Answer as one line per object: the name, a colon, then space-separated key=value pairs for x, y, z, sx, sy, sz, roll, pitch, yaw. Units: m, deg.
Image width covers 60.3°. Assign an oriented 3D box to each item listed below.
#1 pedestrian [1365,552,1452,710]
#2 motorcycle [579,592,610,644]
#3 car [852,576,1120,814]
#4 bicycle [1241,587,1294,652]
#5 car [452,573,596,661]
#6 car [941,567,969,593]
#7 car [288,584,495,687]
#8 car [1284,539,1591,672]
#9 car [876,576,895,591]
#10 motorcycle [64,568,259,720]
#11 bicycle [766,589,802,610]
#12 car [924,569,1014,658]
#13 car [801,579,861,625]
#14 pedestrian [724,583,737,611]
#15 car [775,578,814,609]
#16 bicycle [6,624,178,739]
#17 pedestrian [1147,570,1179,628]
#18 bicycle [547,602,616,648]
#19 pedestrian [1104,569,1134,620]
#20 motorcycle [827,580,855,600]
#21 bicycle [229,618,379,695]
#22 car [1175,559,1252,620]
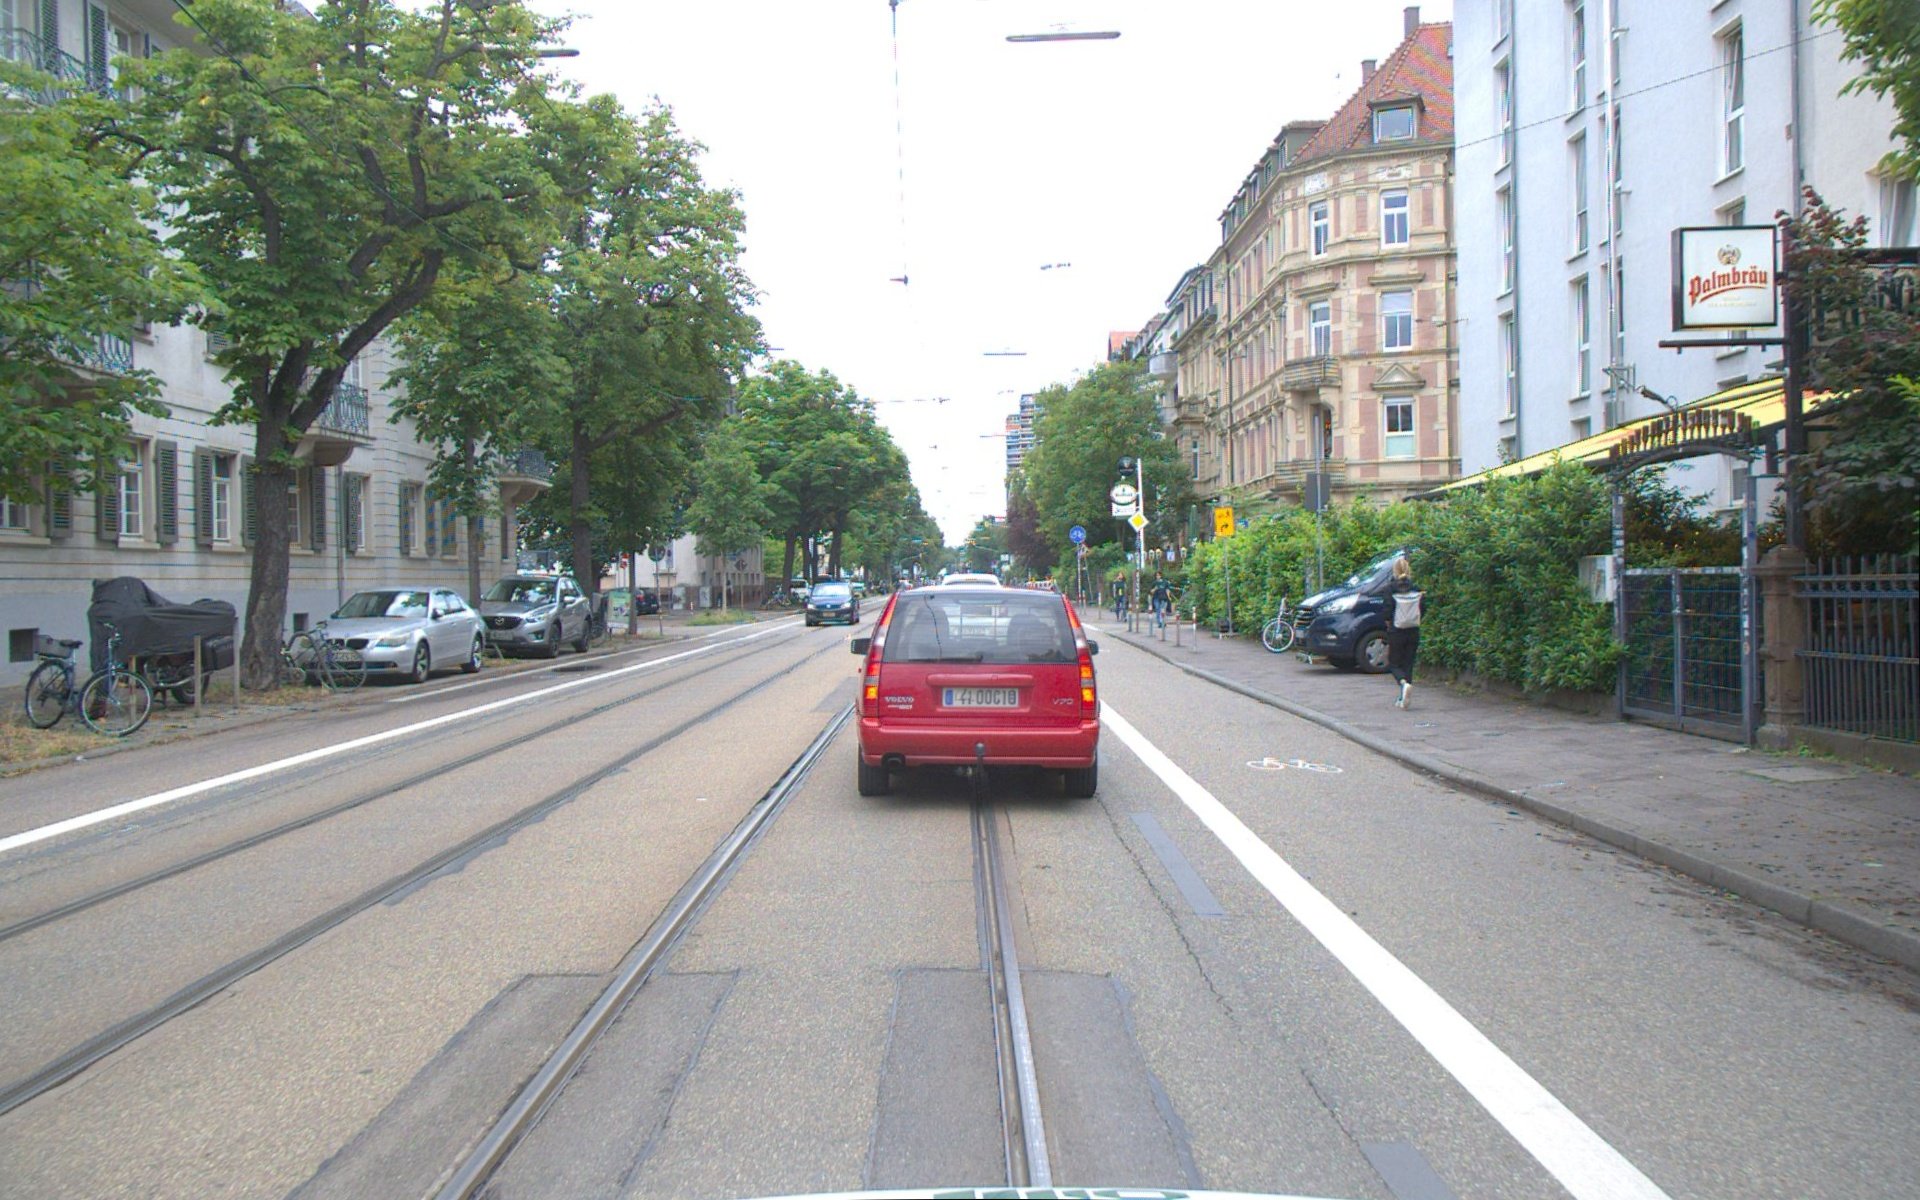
pedestrian: x=5.068 y=0.338 z=18.754 sx=0.611 sy=1.700 sz=0.959 roll=-4 pitch=1 yaw=-1
motorcycle: x=-9.374 y=0.437 z=42.448 sx=0.529 sy=1.279 sz=2.139 roll=-1 pitch=1 yaw=-6
car: x=0.239 y=0.562 z=12.106 sx=1.654 sy=1.466 sz=3.744 roll=0 pitch=1 yaw=2
bicycle: x=5.910 y=0.351 z=31.861 sx=0.620 sy=1.147 sz=1.812 roll=-3 pitch=1 yaw=-1
car: x=-9.037 y=0.296 z=34.646 sx=1.800 sy=1.690 sz=4.294 roll=1 pitch=1 yaw=1
car: x=-0.328 y=-1.319 z=108.699 sx=1.706 sy=1.634 sz=3.998 roll=-1 pitch=0 yaw=-2
car: x=-9.001 y=0.498 z=26.603 sx=1.775 sy=1.491 sz=4.613 roll=0 pitch=1 yaw=-1
car: x=7.306 y=0.067 z=25.605 sx=4.192 sy=1.840 sz=1.824 roll=-2 pitch=1 yaw=1
car: x=-8.090 y=-1.814 z=179.253 sx=1.813 sy=1.590 sz=3.943 roll=-1 pitch=0 yaw=0
motorcycle: x=-9.396 y=0.475 z=19.610 sx=0.815 sy=1.672 sz=2.482 roll=-1 pitch=1 yaw=8
bicycle: x=-9.520 y=-0.019 z=89.502 sx=1.883 sy=1.140 sz=0.624 roll=0 pitch=0 yaw=-1
car: x=0.229 y=0.237 z=33.477 sx=1.683 sy=1.653 sz=3.942 roll=-1 pitch=0 yaw=2
car: x=-4.305 y=0.037 z=55.654 sx=1.693 sy=1.433 sz=3.655 roll=-2 pitch=1 yaw=0
pedestrian: x=-12.208 y=-0.150 z=87.985 sx=0.553 sy=1.493 sz=0.723 roll=-1 pitch=0 yaw=0
car: x=-9.326 y=-0.391 z=93.485 sx=1.858 sy=1.684 sz=4.224 roll=-1 pitch=1 yaw=-1
bicycle: x=-9.070 y=0.852 z=17.273 sx=1.705 sy=1.148 sz=0.518 roll=-1 pitch=1 yaw=18
pedestrian: x=6.012 y=-0.021 z=48.910 sx=0.777 sy=1.664 sz=0.836 roll=-2 pitch=0 yaw=0
bicycle: x=-8.948 y=0.592 z=39.156 sx=1.347 sy=1.022 sz=0.930 roll=2 pitch=1 yaw=4
pedestrian: x=5.352 y=-0.177 z=55.742 sx=0.854 sy=1.684 sz=0.909 roll=-1 pitch=1 yaw=12
motorcycle: x=-9.686 y=-0.786 z=134.288 sx=2.226 sy=1.538 sz=0.923 roll=-1 pitch=-1 yaw=35
bicycle: x=-9.155 y=0.780 z=23.134 sx=1.857 sy=1.045 sz=0.563 roll=0 pitch=0 yaw=-5
car: x=8.592 y=-0.378 z=55.805 sx=2.008 sy=1.910 sz=5.033 roll=-1 pitch=1 yaw=15
